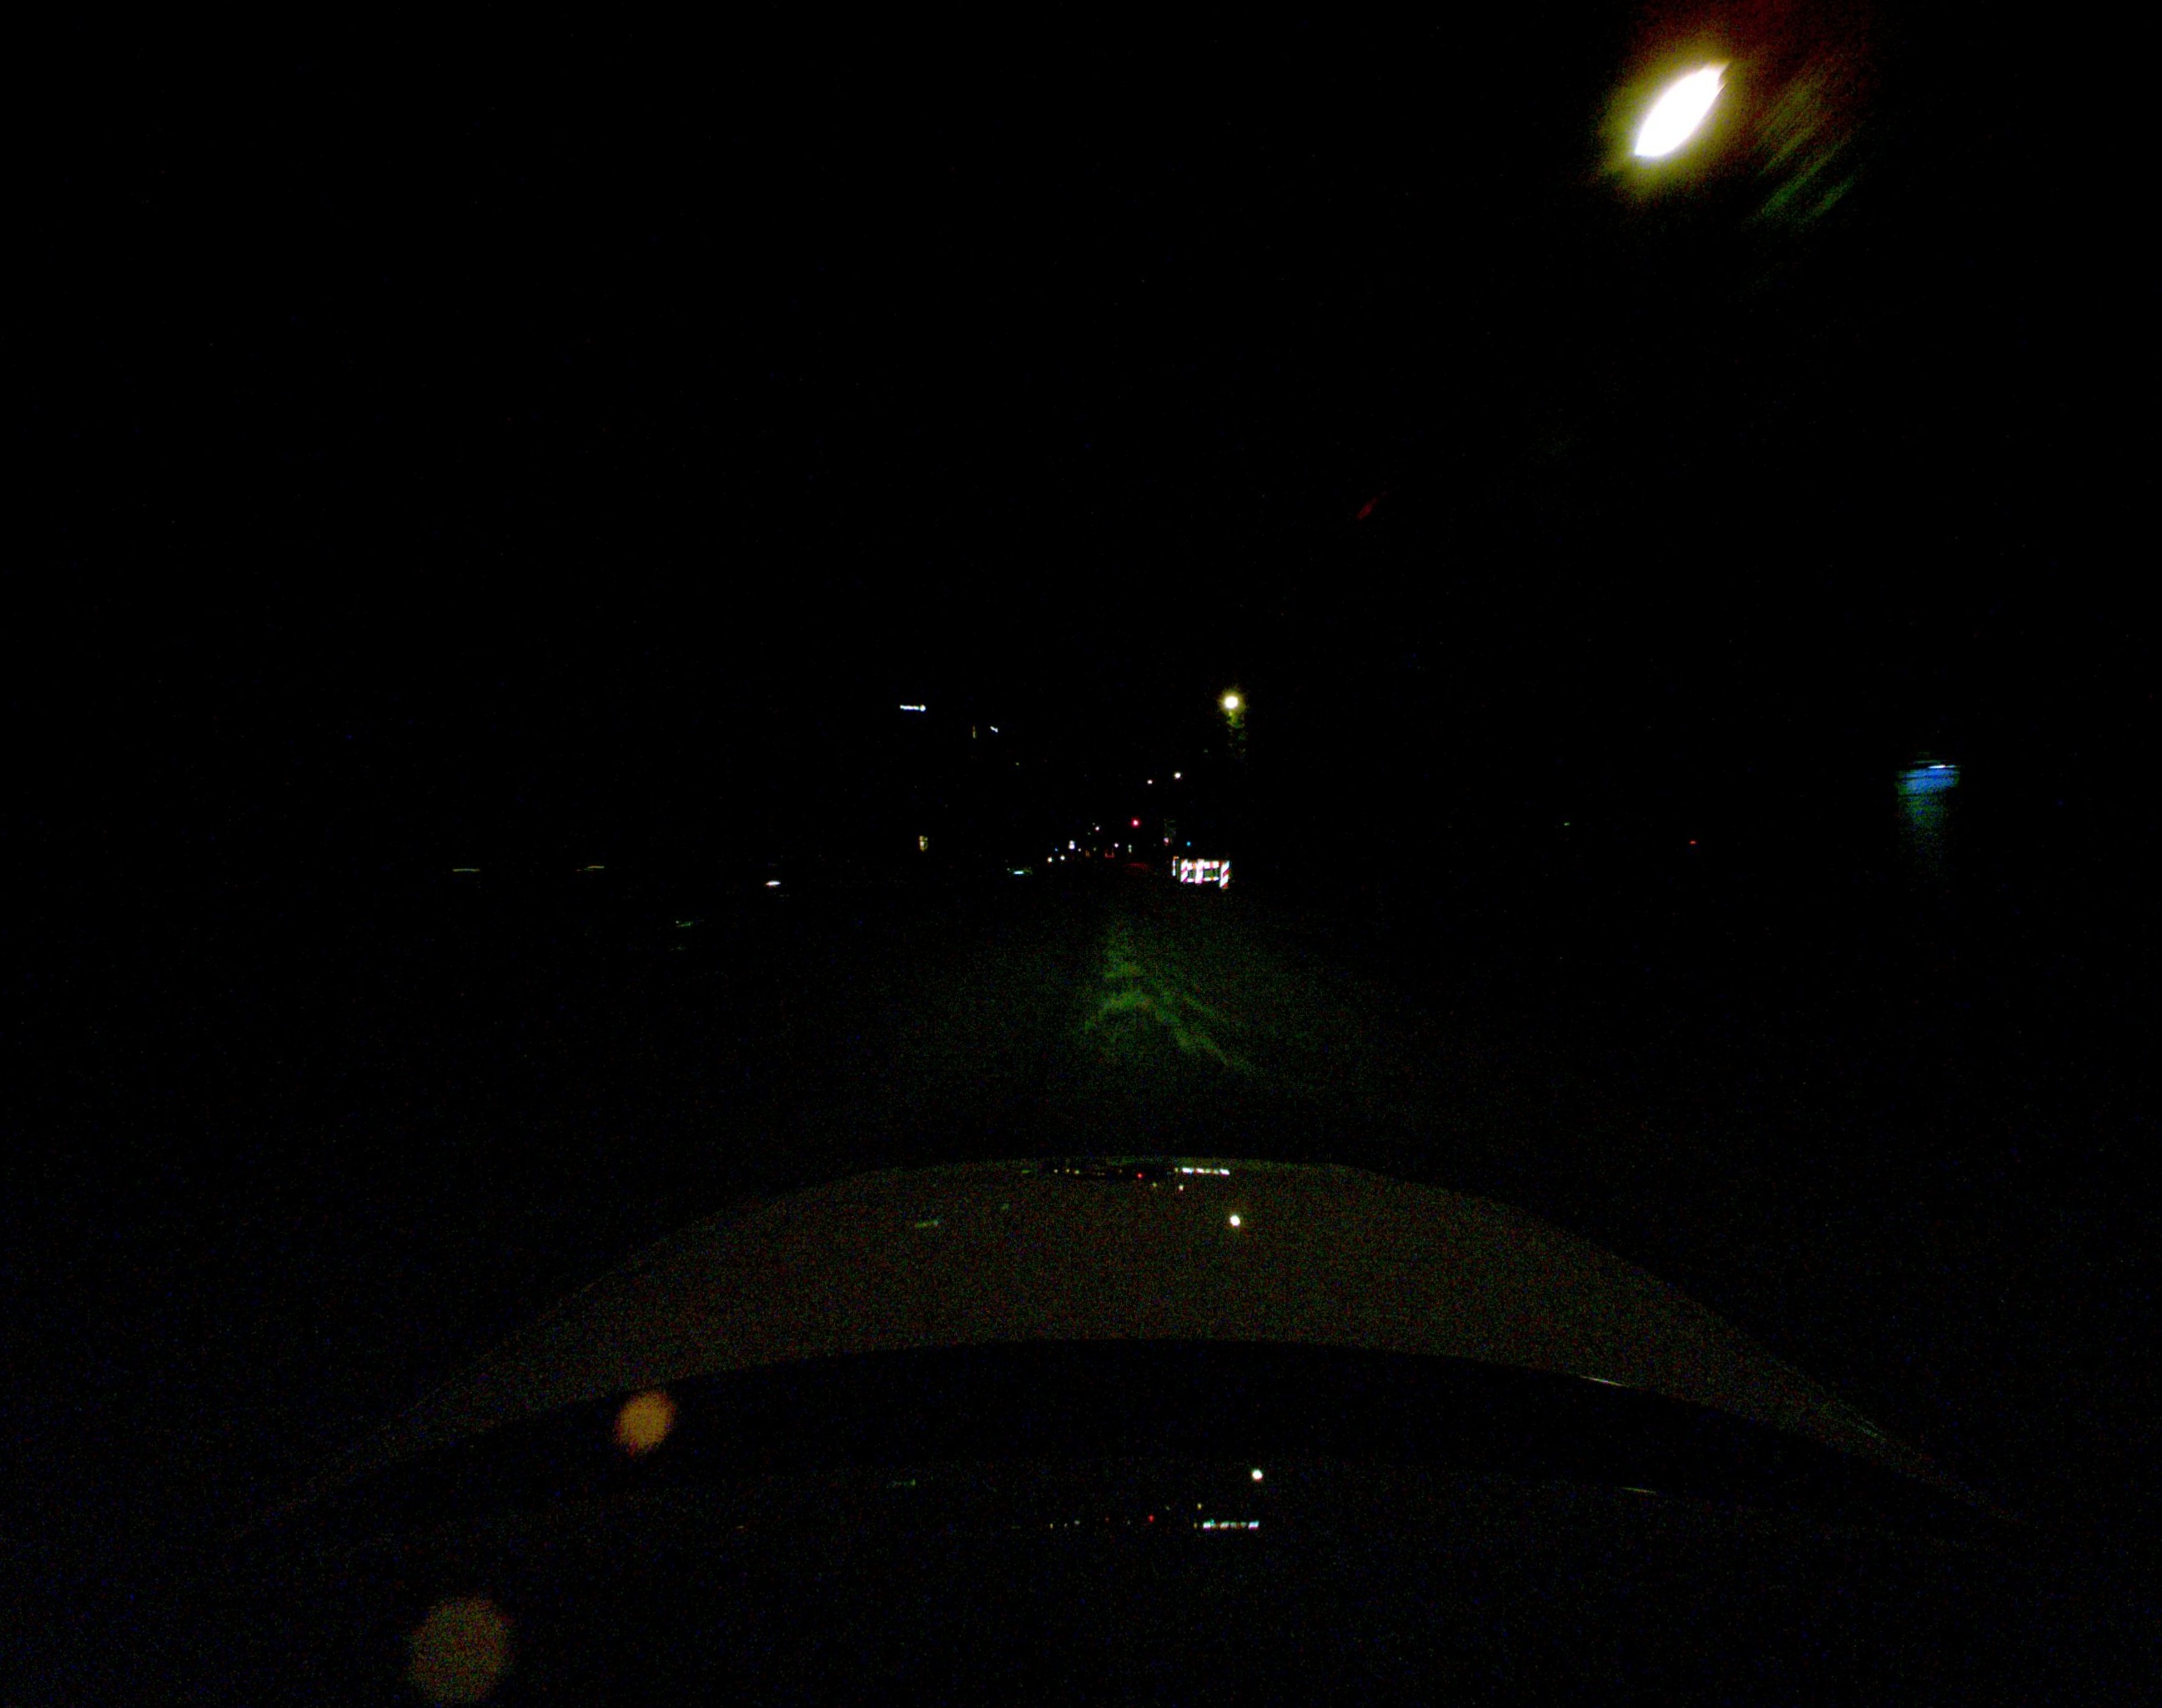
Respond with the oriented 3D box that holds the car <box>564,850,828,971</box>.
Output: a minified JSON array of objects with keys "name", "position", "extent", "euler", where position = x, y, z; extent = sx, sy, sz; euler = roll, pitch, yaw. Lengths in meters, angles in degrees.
[{"name":"car","position":[-5.655,0.736,12.689],"extent":[1.747,1.526,4.328],"euler":[-1,0,5]}]

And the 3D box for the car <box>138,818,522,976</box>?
[{"name":"car","position":[-12.826,0.637,14.469],"extent":[2.196,2.321,4.633],"euler":[-2,0,7]}]

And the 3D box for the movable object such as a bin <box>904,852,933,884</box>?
[{"name":"movable object such as a bin","position":[-7.947,0.690,39.823],"extent":[1.160,1.496,1.065],"euler":[-1,0,0]}]

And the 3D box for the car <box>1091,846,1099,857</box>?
[{"name":"car","position":[3.945,-0.742,235.141],"extent":[1.988,2.974,3.997],"euler":[-1,0,-2]}]

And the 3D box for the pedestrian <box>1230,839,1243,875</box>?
[{"name":"pedestrian","position":[8.305,0.158,43.511],"extent":[0.568,1.852,0.821],"euler":[-1,0,4]}]

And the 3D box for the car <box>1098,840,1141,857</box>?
[{"name":"car","position":[11.623,-1.660,246.870],"extent":[12.390,4.709,4.791],"euler":[-1,0,-11]}]

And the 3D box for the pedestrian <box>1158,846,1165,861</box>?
[{"name":"pedestrian","position":[10.675,-0.056,108.380],"extent":[0.738,1.981,0.623],"euler":[-1,0,-14]}]

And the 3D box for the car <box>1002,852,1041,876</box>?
[{"name":"car","position":[-3.777,0.618,52.366],"extent":[1.903,1.404,4.342],"euler":[-2,0,4]}]

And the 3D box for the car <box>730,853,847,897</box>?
[{"name":"car","position":[-11.652,0.814,32.603],"extent":[3.971,1.571,1.818],"euler":[-2,0,2]}]

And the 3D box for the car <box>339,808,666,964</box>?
[{"name":"car","position":[-10.225,0.490,15.063],"extent":[1.983,2.321,4.976],"euler":[-3,0,7]}]
